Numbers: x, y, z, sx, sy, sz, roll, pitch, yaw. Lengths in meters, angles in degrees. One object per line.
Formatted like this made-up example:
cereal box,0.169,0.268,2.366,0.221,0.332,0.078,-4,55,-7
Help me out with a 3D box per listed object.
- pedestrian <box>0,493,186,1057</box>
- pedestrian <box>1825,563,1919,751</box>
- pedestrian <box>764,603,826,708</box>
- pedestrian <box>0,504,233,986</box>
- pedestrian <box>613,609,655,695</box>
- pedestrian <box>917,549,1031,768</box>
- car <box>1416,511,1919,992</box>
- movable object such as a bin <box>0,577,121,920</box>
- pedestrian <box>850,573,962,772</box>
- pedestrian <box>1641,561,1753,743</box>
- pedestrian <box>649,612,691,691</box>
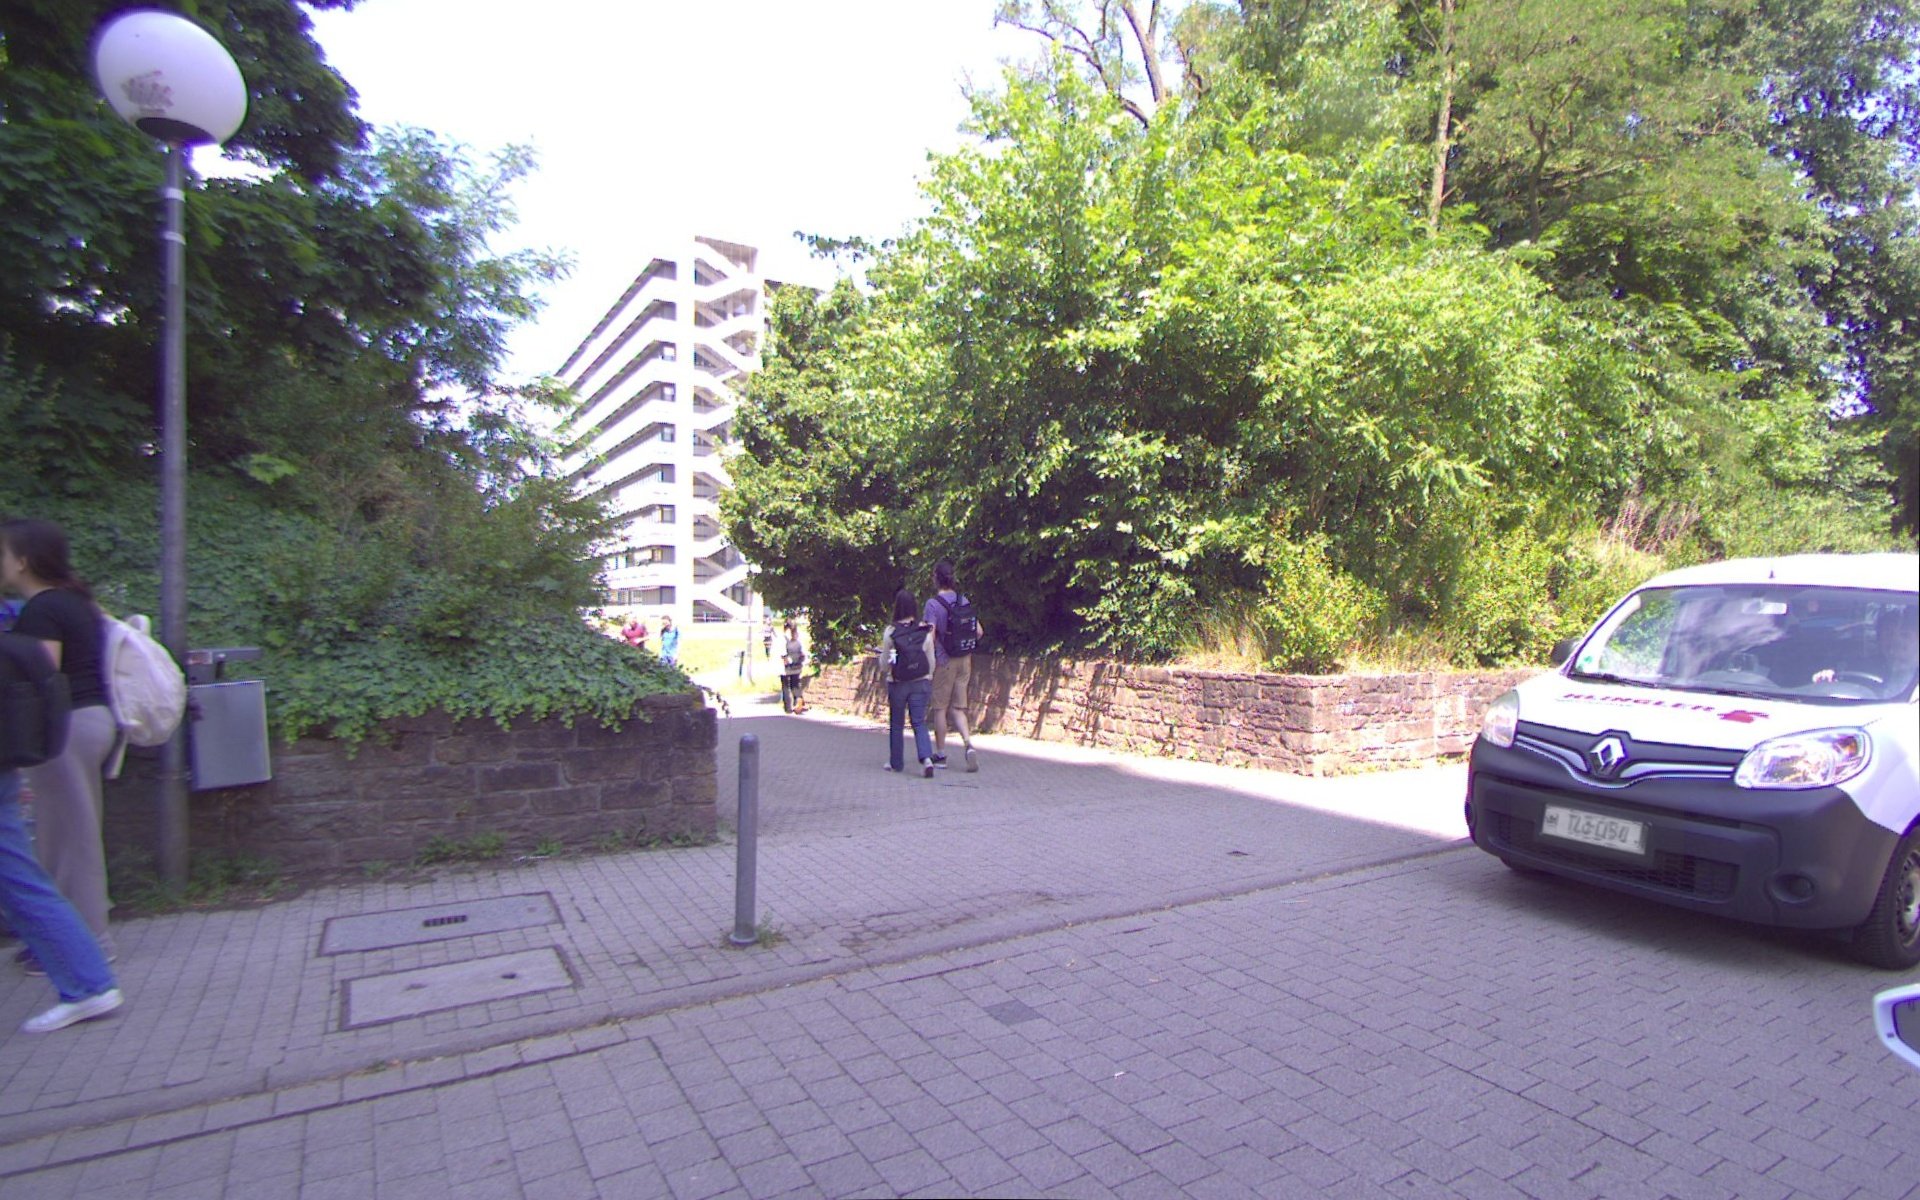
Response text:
pedestrian,-3.039,0.502,3.148,0.905,1.642,0.678,2,0,-36
pedestrian,9.631,0.578,10.472,0.774,1.868,0.679,2,0,-31
pedestrian,-2.736,0.907,16.632,0.678,1.664,0.895,2,-2,-36
pedestrian,-3.358,0.493,3.769,0.969,1.642,0.678,2,0,-36
pedestrian,-6.982,1.102,21.490,0.673,1.778,0.898,1,-2,-28
pedestrian,0.120,0.518,9.123,0.677,1.868,0.821,2,-2,-33
car,4.762,0.594,5.617,4.427,1.785,1.782,1,0,-30
movable object such as a bin,-4.407,0.587,4.185,1.221,1.354,0.708,1,2,-21
pedestrian,-0.480,0.621,8.811,0.677,1.642,0.776,2,-2,-33
pedestrian,7.941,0.543,10.827,0.774,1.868,0.679,2,0,-31
pedestrian,-6.230,1.093,21.528,0.676,1.664,0.898,1,-2,-28
